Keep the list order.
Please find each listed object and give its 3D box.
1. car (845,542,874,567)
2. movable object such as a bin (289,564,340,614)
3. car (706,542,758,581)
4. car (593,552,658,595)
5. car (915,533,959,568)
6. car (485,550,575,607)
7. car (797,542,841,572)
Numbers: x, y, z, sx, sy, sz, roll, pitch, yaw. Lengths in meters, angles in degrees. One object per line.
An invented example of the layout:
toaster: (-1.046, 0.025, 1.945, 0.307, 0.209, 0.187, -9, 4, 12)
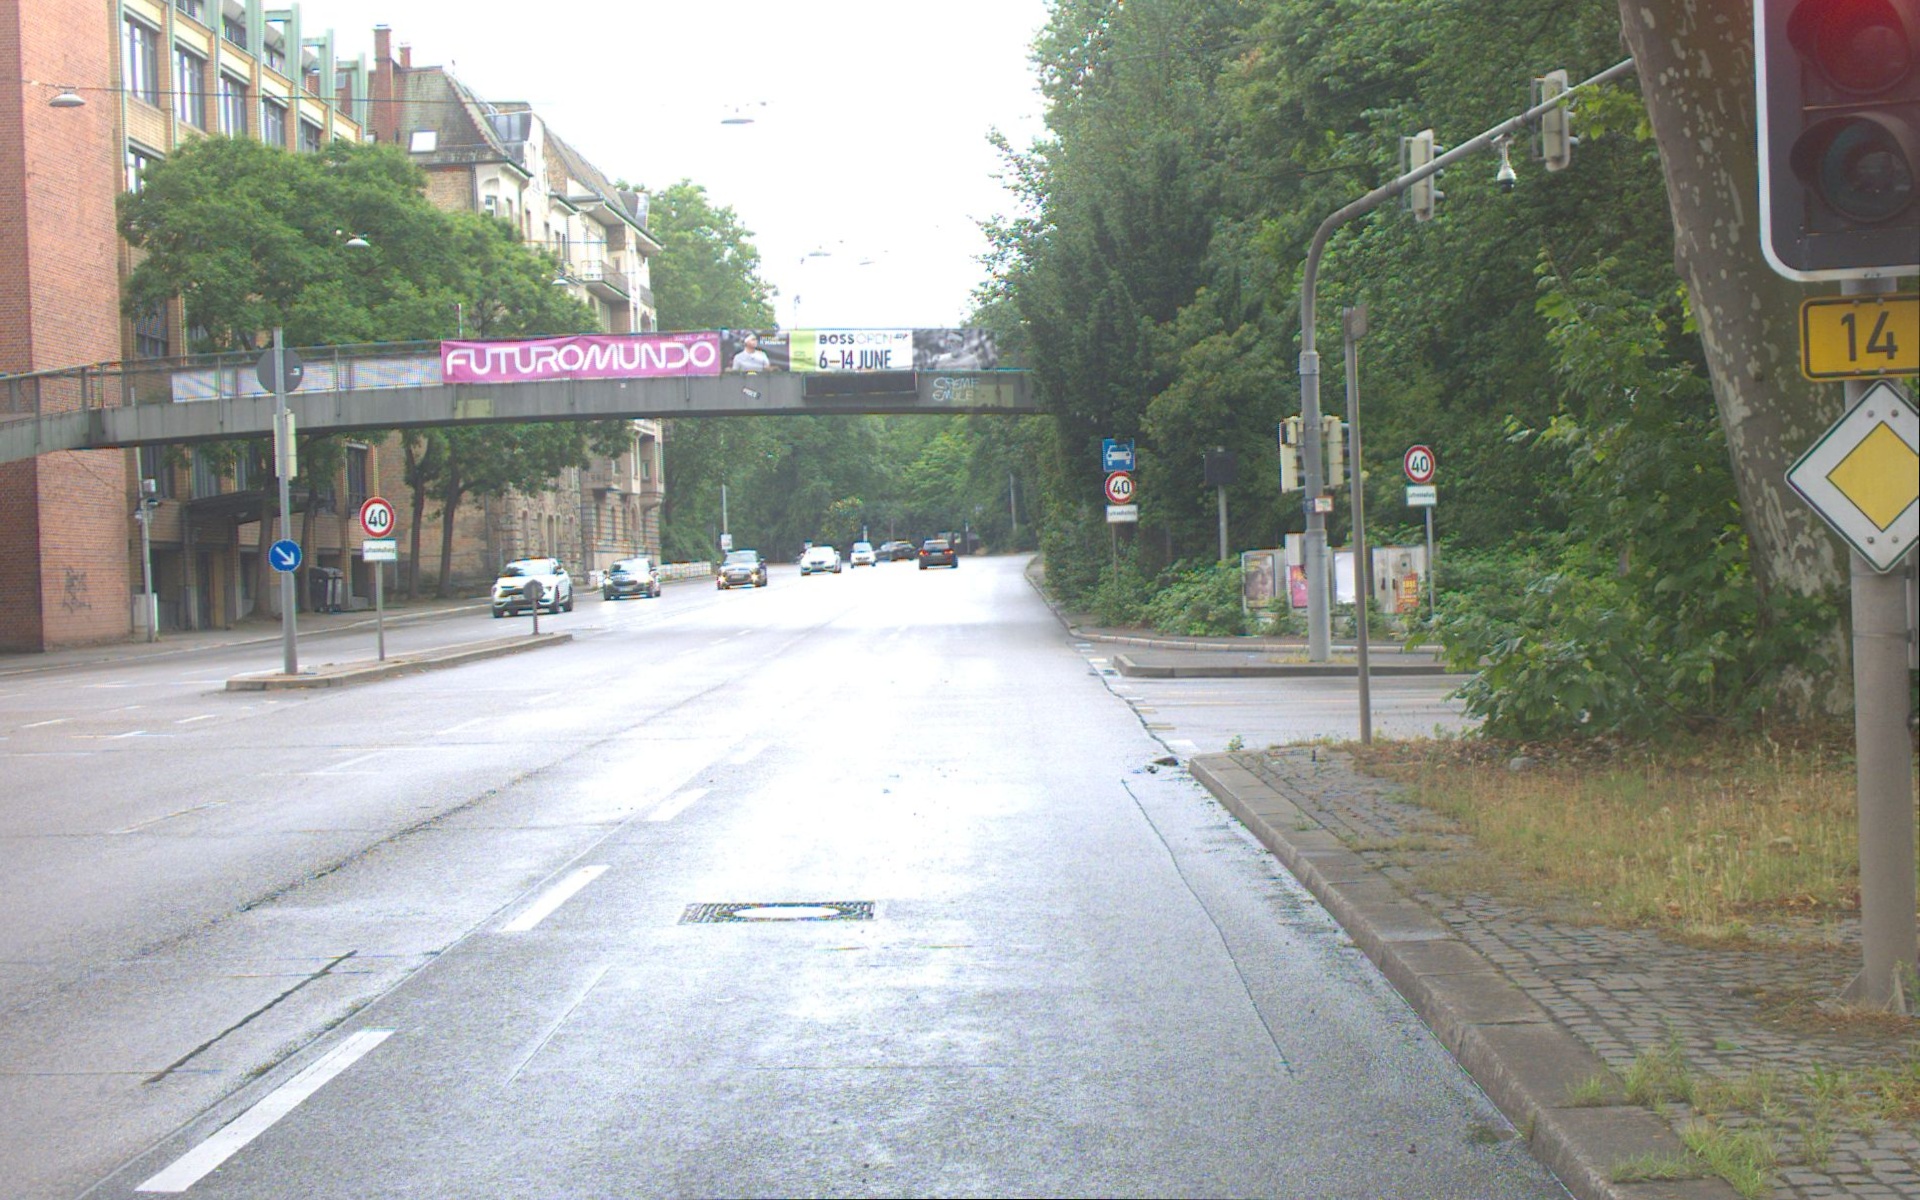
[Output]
car: (-6.323, -2.833, 216.162, 1.600, 1.494, 3.711, -3, 0, 1)
movable object such as a bin: (-20.103, -0.358, 107.127, 1.282, 1.513, 1.273, -1, 1, 1)
car: (-8.901, -1.493, 134.402, 1.683, 1.431, 3.862, -2, 0, 1)
car: (-12.013, -0.967, 123.629, 1.709, 1.459, 4.041, -2, 0, 3)
car: (-1.149, -2.441, 169.177, 2.004, 1.638, 4.376, -2, 1, -2)
car: (-12.492, -0.634, 100.022, 1.890, 1.604, 4.456, -1, 0, 2)
car: (-6.942, -2.118, 169.535, 1.830, 1.389, 4.405, -3, 0, 1)
